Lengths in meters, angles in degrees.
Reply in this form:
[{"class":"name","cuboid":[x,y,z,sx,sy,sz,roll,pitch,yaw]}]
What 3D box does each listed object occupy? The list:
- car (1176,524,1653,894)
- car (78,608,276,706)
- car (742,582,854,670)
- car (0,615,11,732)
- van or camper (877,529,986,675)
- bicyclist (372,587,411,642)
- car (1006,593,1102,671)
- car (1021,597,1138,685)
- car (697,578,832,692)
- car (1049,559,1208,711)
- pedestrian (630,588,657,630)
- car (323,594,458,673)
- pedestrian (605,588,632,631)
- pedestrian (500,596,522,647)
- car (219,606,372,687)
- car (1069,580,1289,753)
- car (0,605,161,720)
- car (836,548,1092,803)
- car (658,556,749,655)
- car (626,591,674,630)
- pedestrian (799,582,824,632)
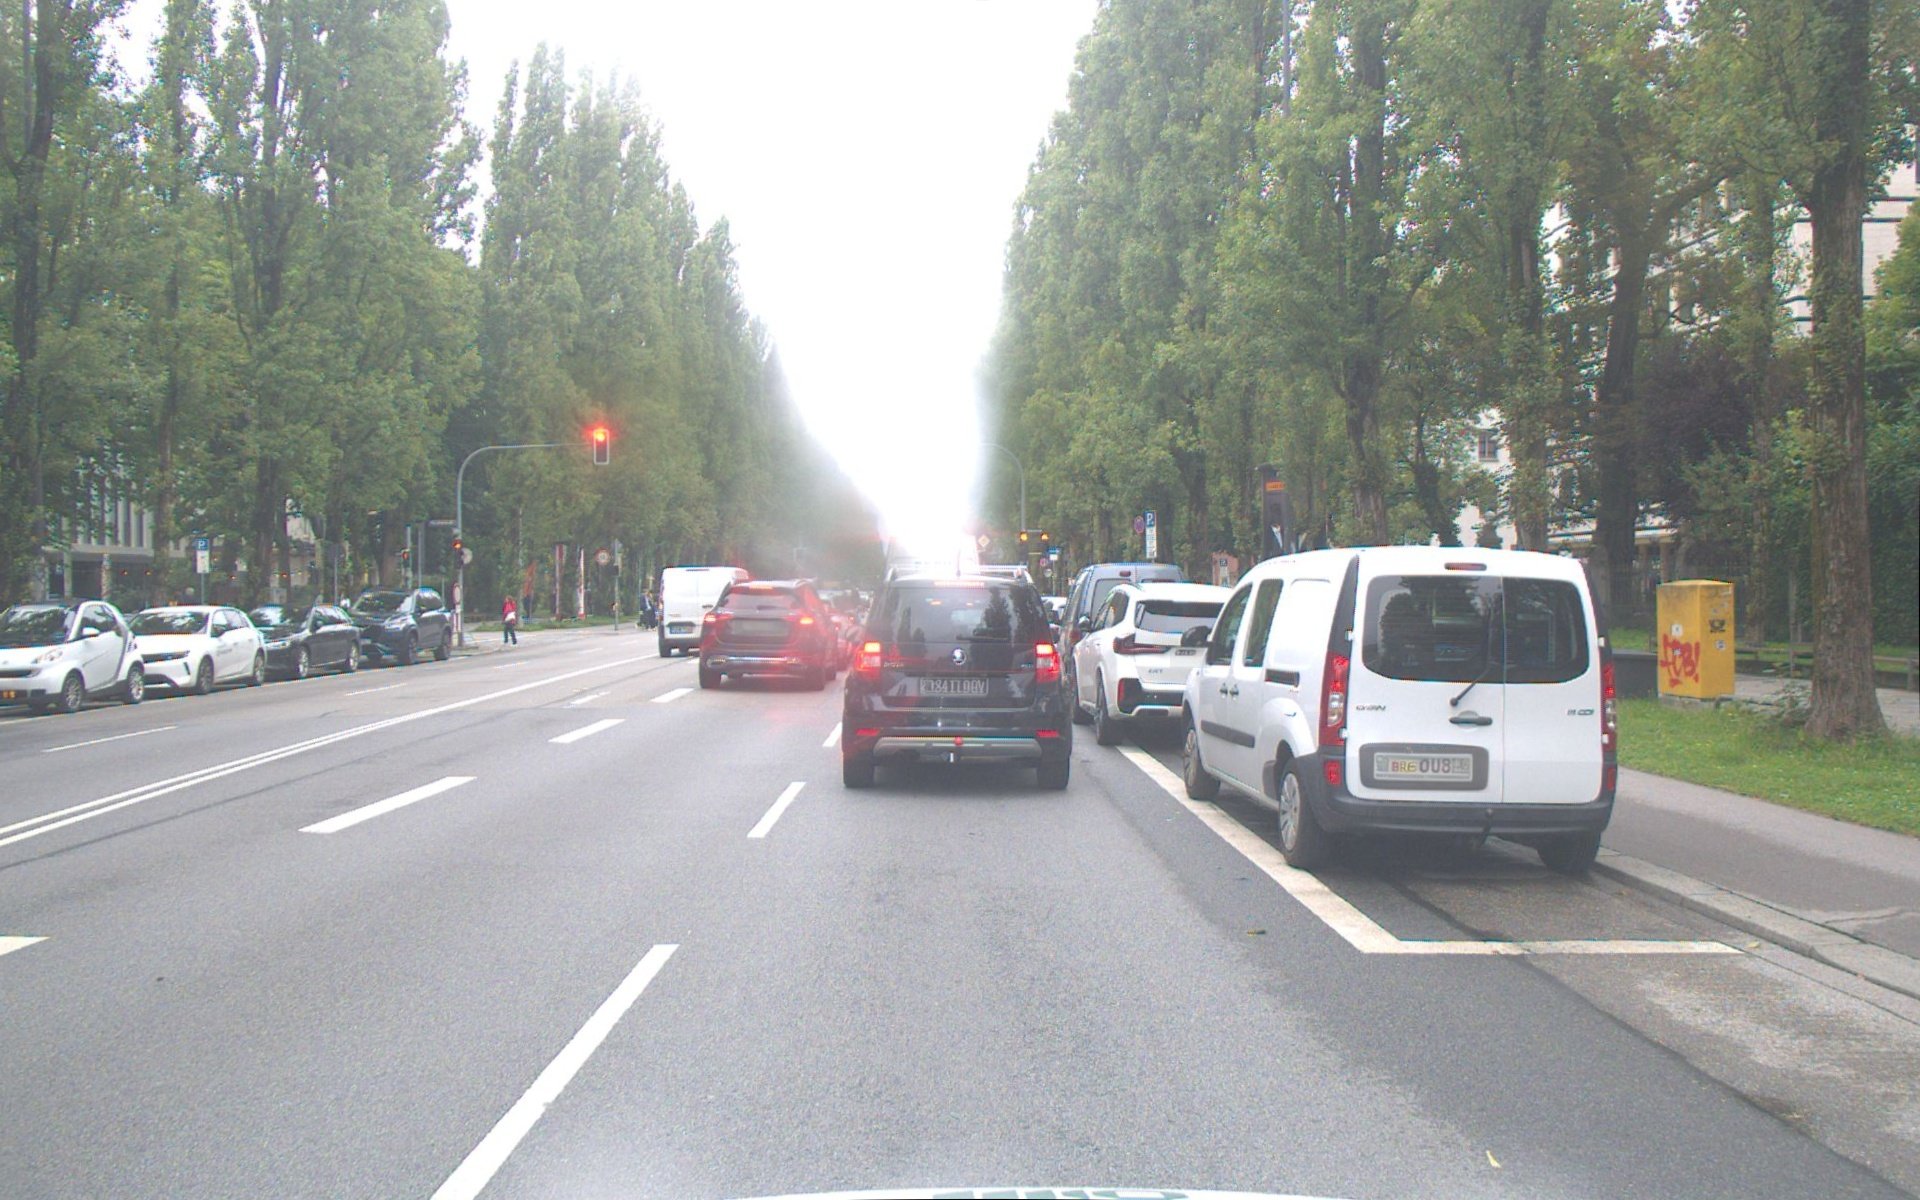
[{"class":"car","cuboid":[2.658,0.543,10.728,1.814,1.914,4.167,0,1,-2]},{"class":"car","cuboid":[-13.109,0.899,27.958,1.592,1.413,4.163,-3,0,-5]},{"class":"car","cuboid":[-3.104,0.454,32.407,1.953,1.588,3.998,-1,1,-2]},{"class":"car","cuboid":[-12.774,0.968,18.893,1.568,1.450,3.851,-3,0,0]},{"class":"van or camper","cuboid":[-0.612,0.015,31.718,1.936,2.593,4.022,-1,0,-3]},{"class":"bicyclist","cuboid":[-18.336,0.472,53.368,0.886,1.752,0.825,-1,0,8]},{"class":"car","cuboid":[1.900,0.617,34.432,1.700,1.501,3.561,0,1,-2]},{"class":"car","cuboid":[2.048,0.670,29.133,1.700,1.411,3.561,0,1,-2]},{"class":"car","cuboid":[-3.000,0.484,26.116,1.745,1.648,4.024,0,1,-2]},{"class":"car","cuboid":[2.251,0.424,23.063,1.700,1.928,4.024,0,1,-2]},{"class":"pedestrian","cuboid":[-13.658,0.395,71.411,0.861,1.795,0.879,-1,0,8]},{"class":"car","cuboid":[-13.459,0.737,39.370,1.813,1.683,4.692,-3,0,-4]},{"class":"pedestrian","cuboid":[-14.515,0.396,70.404,0.861,1.795,0.879,-1,0,8]},{"class":"pedestrian","cuboid":[-13.325,0.640,49.090,0.507,1.511,0.536,-1,0,-1]},{"class":"car","cuboid":[-13.356,0.892,33.477,1.591,1.413,4.164,-3,0,-4]},{"class":"car","cuboid":[2.216,0.607,17.788,1.706,1.620,4.210,0,1,-1]},{"class":"car","cuboid":[-12.925,0.862,23.794,1.399,1.472,2.965,-3,0,-2]},{"class":"car","cuboid":[-0.010,0.536,13.993,1.818,1.801,3.999,2,0,-1]},{"class":"car","cuboid":[-5.835,0.103,38.027,1.746,2.148,4.021,-1,0,-4]},{"class":"car","cuboid":[-14.735,0.471,78.746,1.654,1.814,3.774,0,1,-1]},{"class":"pedestrian","cuboid":[-6.100,0.274,68.064,0.867,2.049,1.013,-1,0,1]}]
